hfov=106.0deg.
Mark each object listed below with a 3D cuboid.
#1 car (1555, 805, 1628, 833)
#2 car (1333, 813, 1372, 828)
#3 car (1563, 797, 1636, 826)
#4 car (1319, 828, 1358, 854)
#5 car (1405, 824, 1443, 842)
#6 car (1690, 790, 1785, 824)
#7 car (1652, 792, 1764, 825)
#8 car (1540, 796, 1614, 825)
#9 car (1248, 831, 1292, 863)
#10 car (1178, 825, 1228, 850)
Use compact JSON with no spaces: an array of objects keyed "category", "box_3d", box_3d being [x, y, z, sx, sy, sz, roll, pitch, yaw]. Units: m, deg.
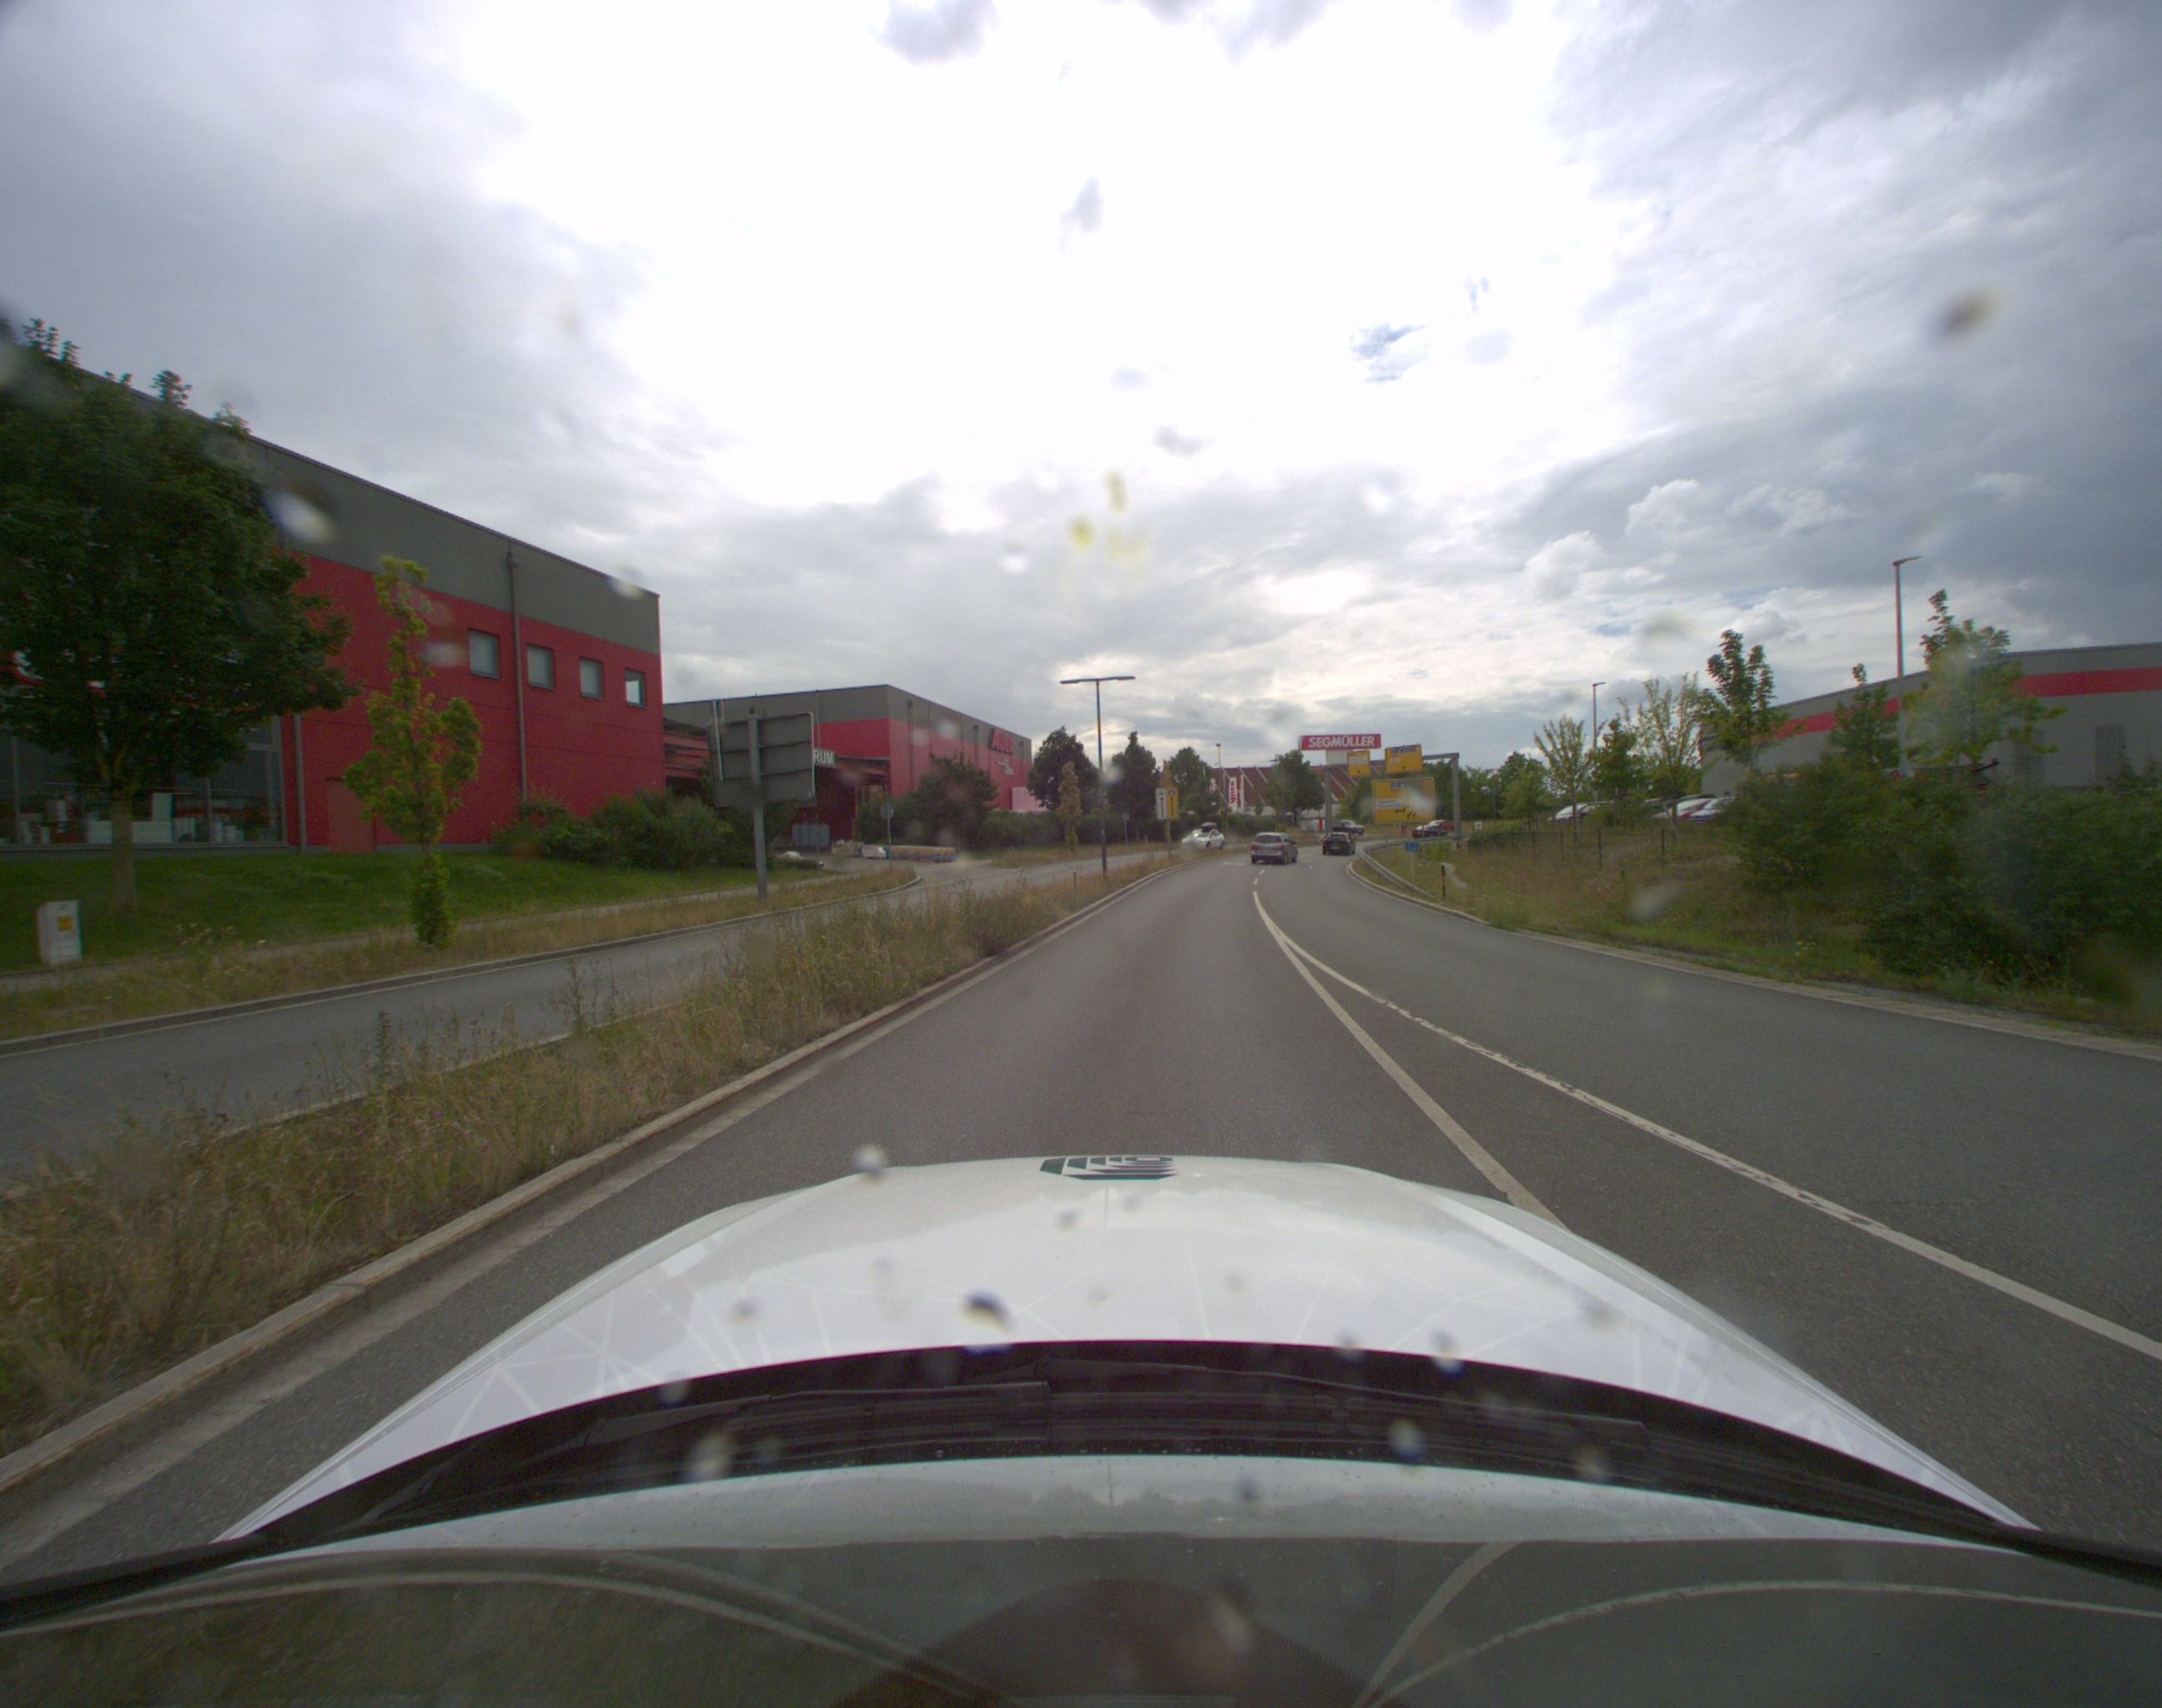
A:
[{"category":"car","box_3d":[31.590,-2.157,50.408,3.857,1.652,1.723,-1,3,-19]},{"category":"car","box_3d":[29.779,-3.672,89.424,1.874,1.549,4.226,-2,3,-21]},{"category":"car","box_3d":[30.530,-2.484,47.993,3.729,1.652,1.511,0,3,-16]},{"category":"car","box_3d":[16.907,-0.845,53.311,1.852,1.605,3.757,-1,1,26]},{"category":"car","box_3d":[31.712,-1.938,75.147,1.888,1.618,4.024,-1,1,44]},{"category":"car","box_3d":[28.646,-2.044,35.564,3.299,1.381,1.495,-2,1,-12]},{"category":"car","box_3d":[29.637,-2.132,38.516,4.580,1.400,1.696,-2,1,-14]},{"category":"car","box_3d":[32.054,-2.792,52.660,4.168,1.782,1.794,-1,3,-19]},{"category":"car","box_3d":[9.924,-0.385,42.587,1.752,1.616,3.941,0,1,20]},{"category":"car","box_3d":[8.770,-1.208,58.190,1.891,1.625,4.667,3,3,31]}]
